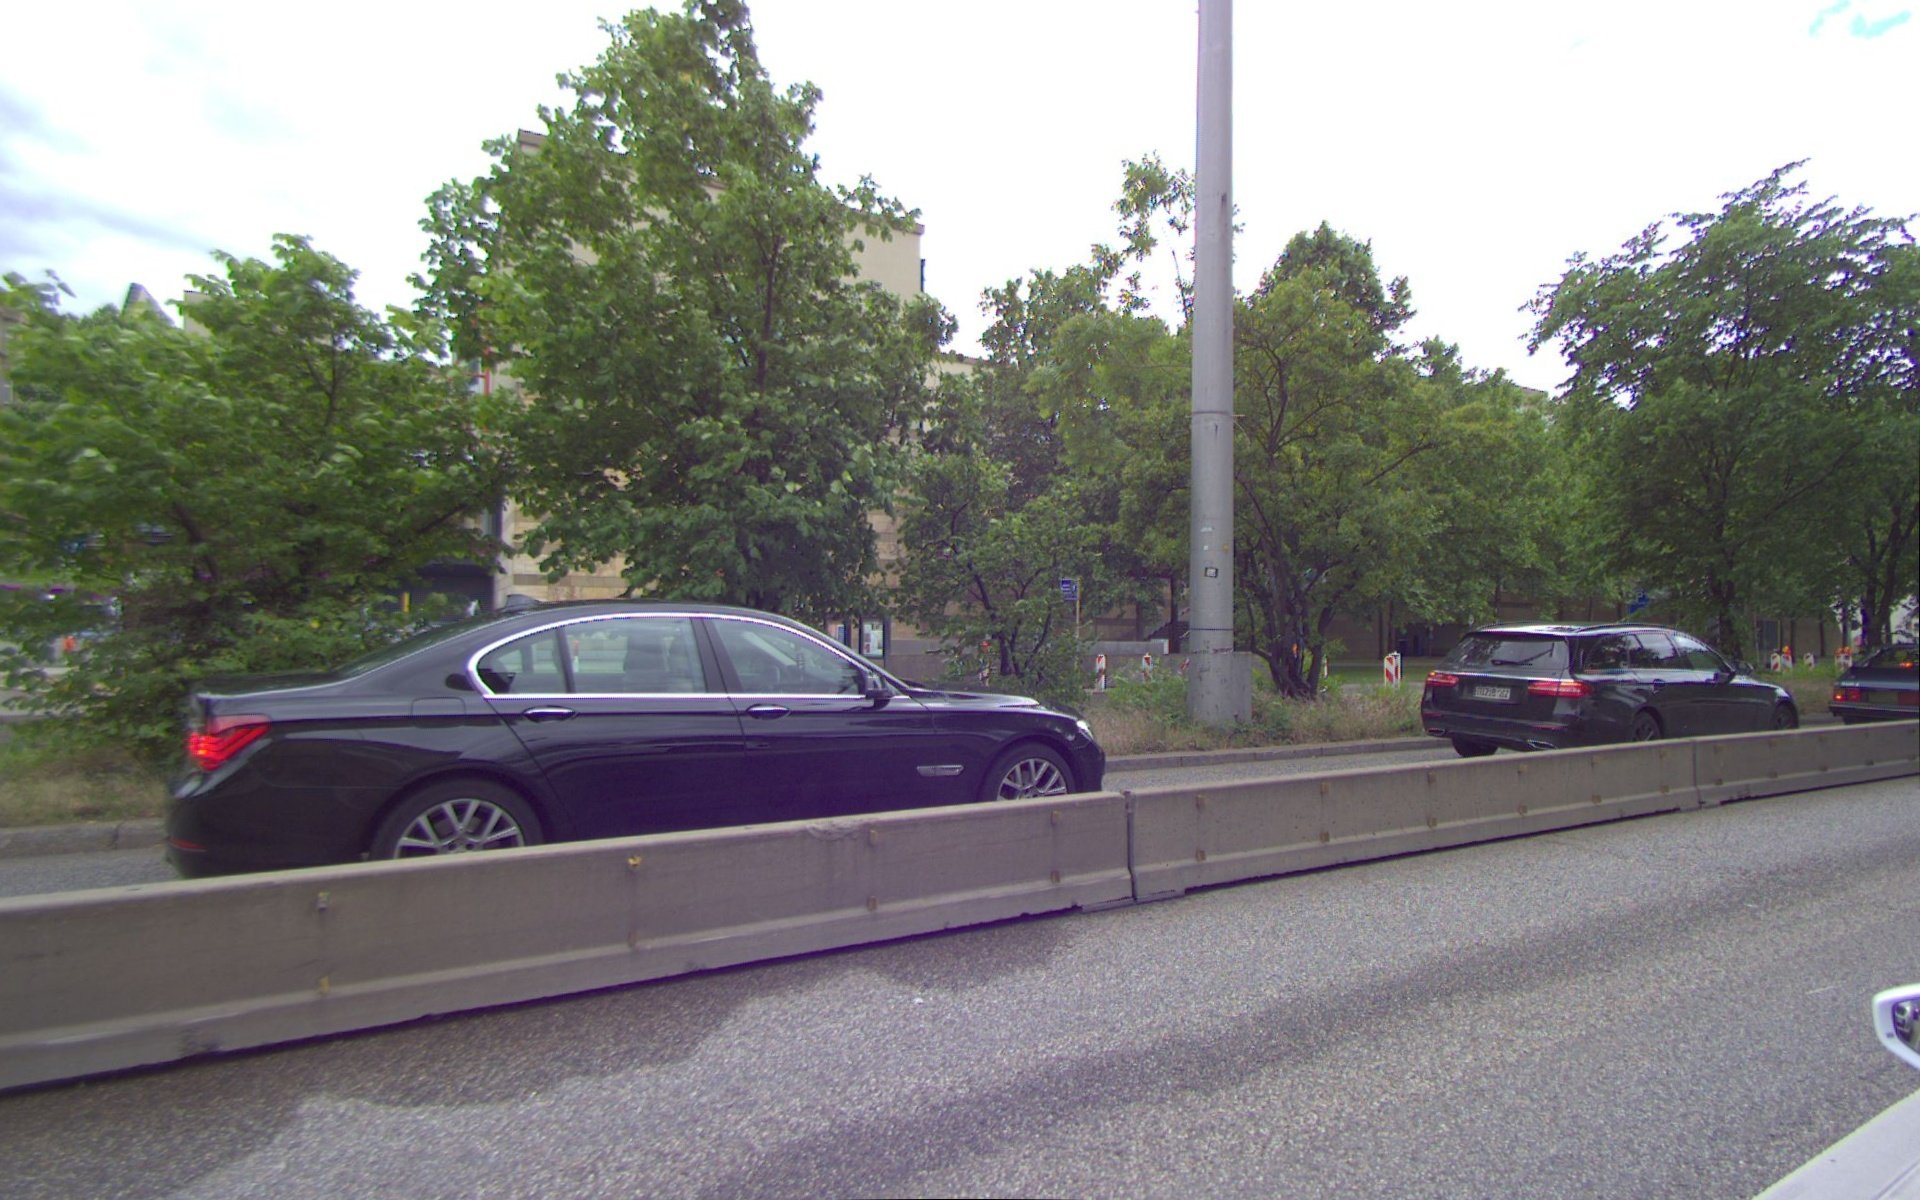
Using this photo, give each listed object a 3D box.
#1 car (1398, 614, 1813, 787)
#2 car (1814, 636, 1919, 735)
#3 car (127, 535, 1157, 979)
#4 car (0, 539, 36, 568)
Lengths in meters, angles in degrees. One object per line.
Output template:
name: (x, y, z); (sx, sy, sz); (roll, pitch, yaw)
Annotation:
car: (7.031, 0.963, 10.813); (4.712, 1.519, 1.808); (2, -1, -30)
car: (15.432, 1.290, 15.787); (4.489, 1.385, 1.670); (2, -1, -30)
car: (-1.398, 0.658, 5.776); (4.876, 1.657, 1.915); (2, -1, -29)
car: (-65.738, -3.218, 69.570); (1.590, 1.821, 3.780); (1, 0, -28)
